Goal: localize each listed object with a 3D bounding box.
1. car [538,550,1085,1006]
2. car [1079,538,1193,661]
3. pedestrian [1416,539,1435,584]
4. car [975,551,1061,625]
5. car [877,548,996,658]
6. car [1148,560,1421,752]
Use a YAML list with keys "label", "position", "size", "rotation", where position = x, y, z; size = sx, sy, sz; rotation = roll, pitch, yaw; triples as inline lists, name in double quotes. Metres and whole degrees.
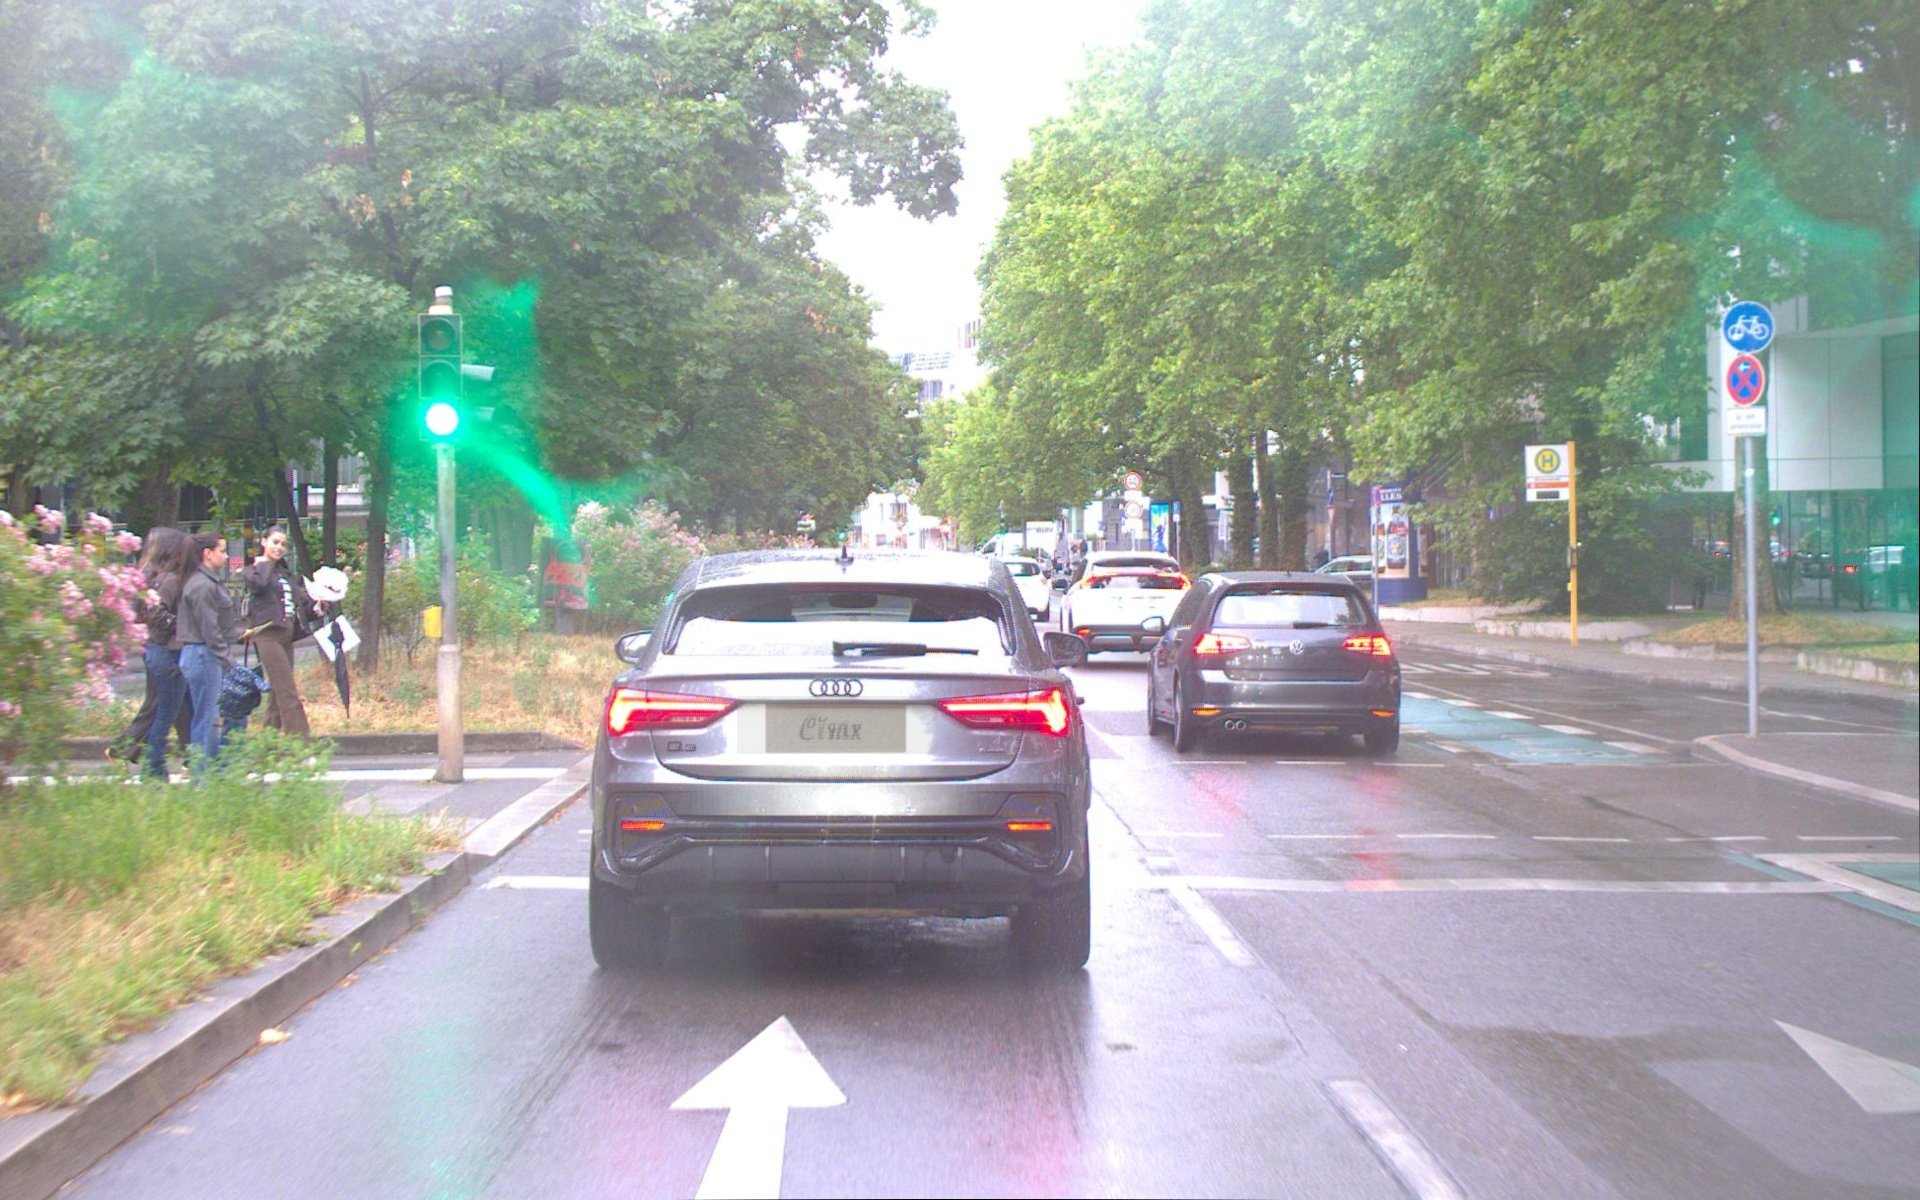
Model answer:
- label: "car"
  position: [-0.490, 0.574, 13.984]
  size: [1.863, 1.527, 4.527]
  rotation: [0, 1, 0]
- label: "car"
  position: [2.489, -0.033, 49.225]
  size: [1.433, 1.679, 2.979]
  rotation: [-1, 1, -1]
- label: "pedestrian"
  position: [18.567, -1.542, 137.003]
  size: [0.650, 1.809, 0.655]
  rotation: [0, 1, -1]
- label: "car"
  position: [1.407, -0.326, 84.765]
  size: [1.993, 1.744, 4.000]
  rotation: [-1, 1, -1]
- label: "car"
  position: [-0.379, 0.010, 52.051]
  size: [1.721, 1.572, 3.962]
  rotation: [0, 1, -1]
- label: "car"
  position: [2.588, 0.402, 28.240]
  size: [1.765, 1.408, 4.000]
  rotation: [-1, 1, -1]
